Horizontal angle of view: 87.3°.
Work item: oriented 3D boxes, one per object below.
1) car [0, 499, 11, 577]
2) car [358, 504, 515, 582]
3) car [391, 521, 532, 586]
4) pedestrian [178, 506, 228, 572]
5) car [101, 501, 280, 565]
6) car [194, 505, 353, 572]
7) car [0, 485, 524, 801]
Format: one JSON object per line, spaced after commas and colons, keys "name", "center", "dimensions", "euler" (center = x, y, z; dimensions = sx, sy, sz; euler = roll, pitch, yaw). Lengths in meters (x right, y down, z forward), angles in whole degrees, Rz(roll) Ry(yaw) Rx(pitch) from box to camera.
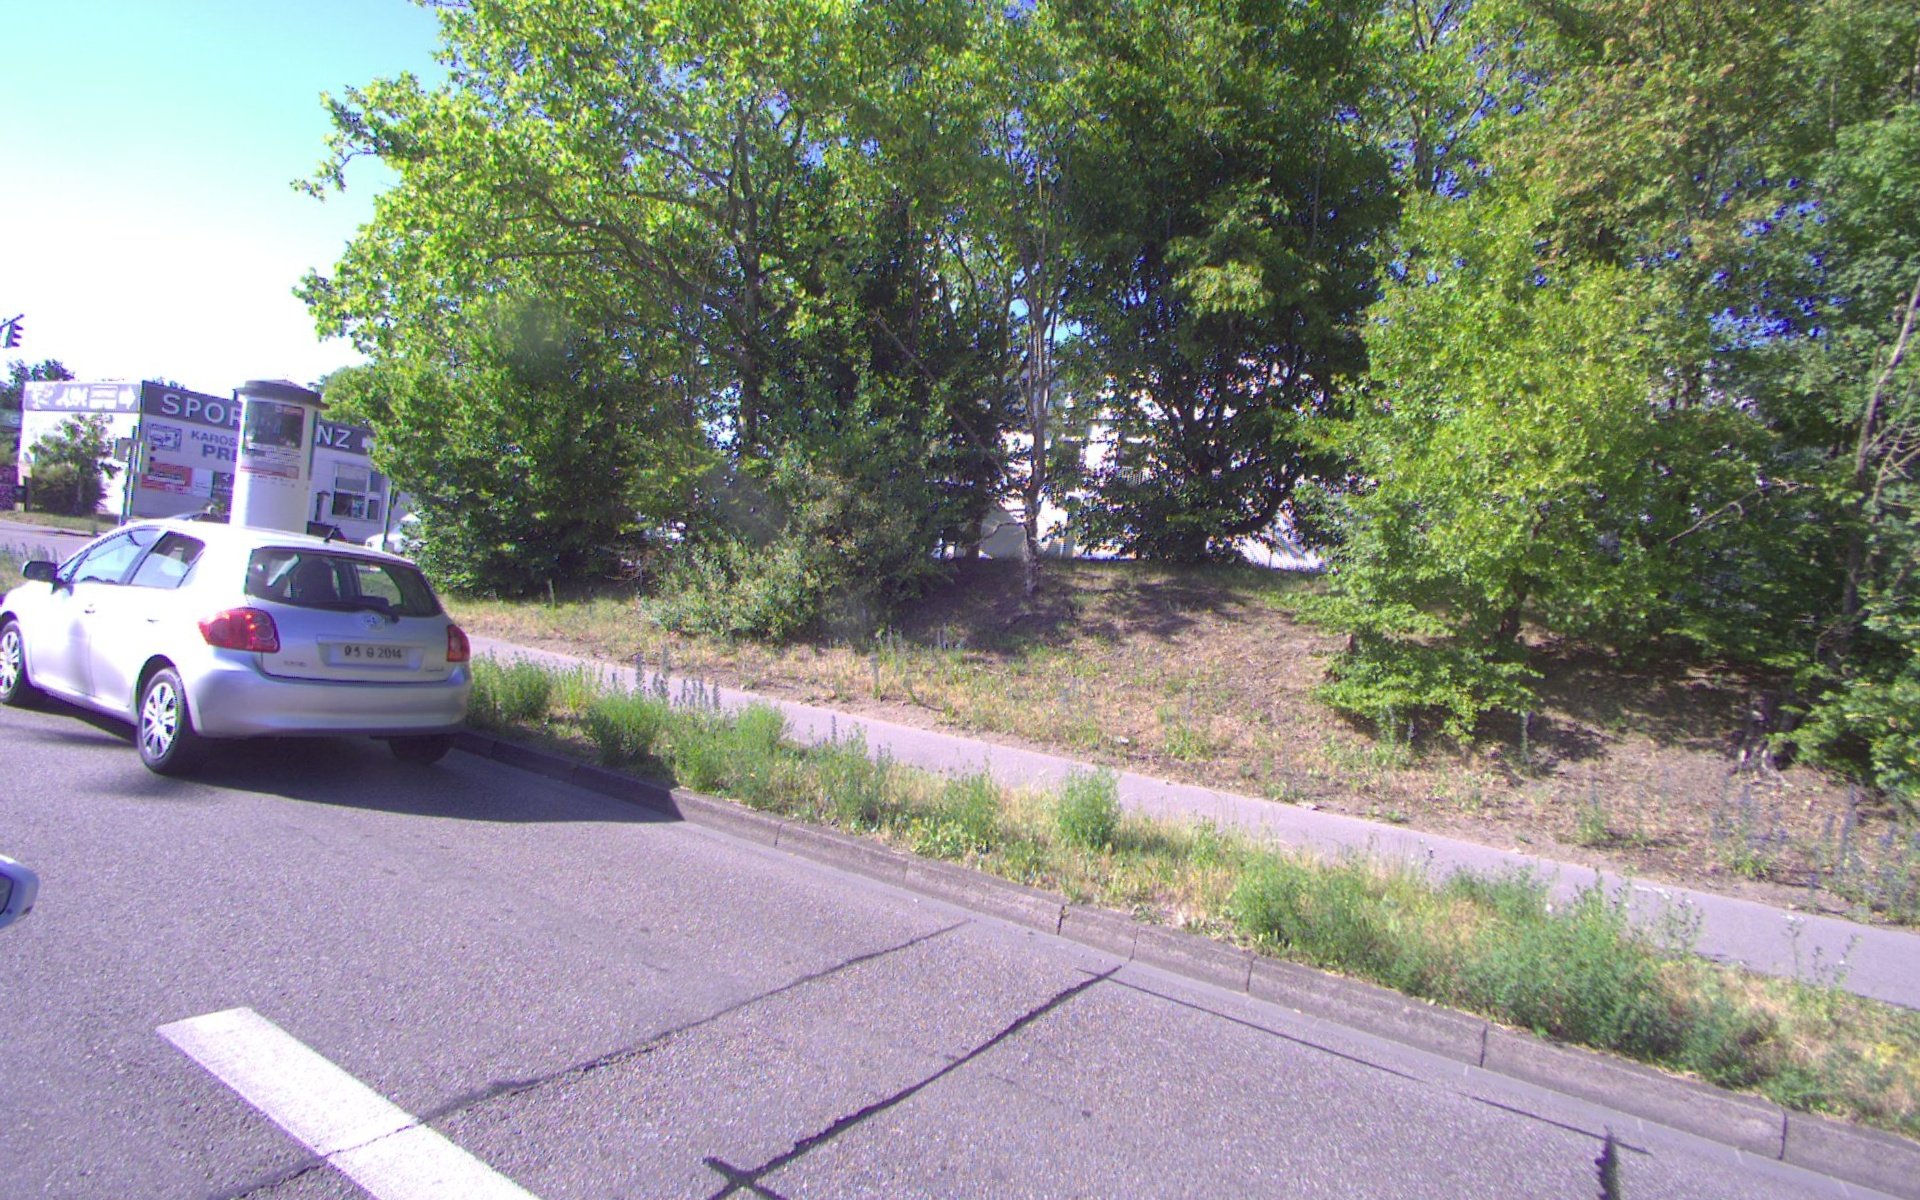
{"name": "car", "center": [-12.851, -0.671, 11.504], "dimensions": [4.299, 1.458, 1.737], "euler": [7, -2, 32]}
{"name": "car", "center": [-23.132, -2.438, 44.721], "dimensions": [1.967, 2.706, 5.840], "euler": [6, 0, 32]}
{"name": "car", "center": [-20.927, -1.906, 42.457], "dimensions": [1.849, 2.060, 4.962], "euler": [7, -1, 30]}
{"name": "pedestrian", "center": [-21.071, -1.700, 28.006], "dimensions": [0.506, 1.688, 0.818], "euler": [6, -1, 31]}
{"name": "car", "center": [-28.025, -2.392, 36.827], "dimensions": [1.729, 1.484, 4.831], "euler": [6, -2, 30]}
{"name": "car", "center": [-24.492, -2.163, 36.063], "dimensions": [1.611, 1.668, 4.316], "euler": [6, -2, 31]}
{"name": "car", "center": [-5.284, 0.192, 7.262], "dimensions": [4.039, 1.555, 1.787], "euler": [7, -2, 32]}
